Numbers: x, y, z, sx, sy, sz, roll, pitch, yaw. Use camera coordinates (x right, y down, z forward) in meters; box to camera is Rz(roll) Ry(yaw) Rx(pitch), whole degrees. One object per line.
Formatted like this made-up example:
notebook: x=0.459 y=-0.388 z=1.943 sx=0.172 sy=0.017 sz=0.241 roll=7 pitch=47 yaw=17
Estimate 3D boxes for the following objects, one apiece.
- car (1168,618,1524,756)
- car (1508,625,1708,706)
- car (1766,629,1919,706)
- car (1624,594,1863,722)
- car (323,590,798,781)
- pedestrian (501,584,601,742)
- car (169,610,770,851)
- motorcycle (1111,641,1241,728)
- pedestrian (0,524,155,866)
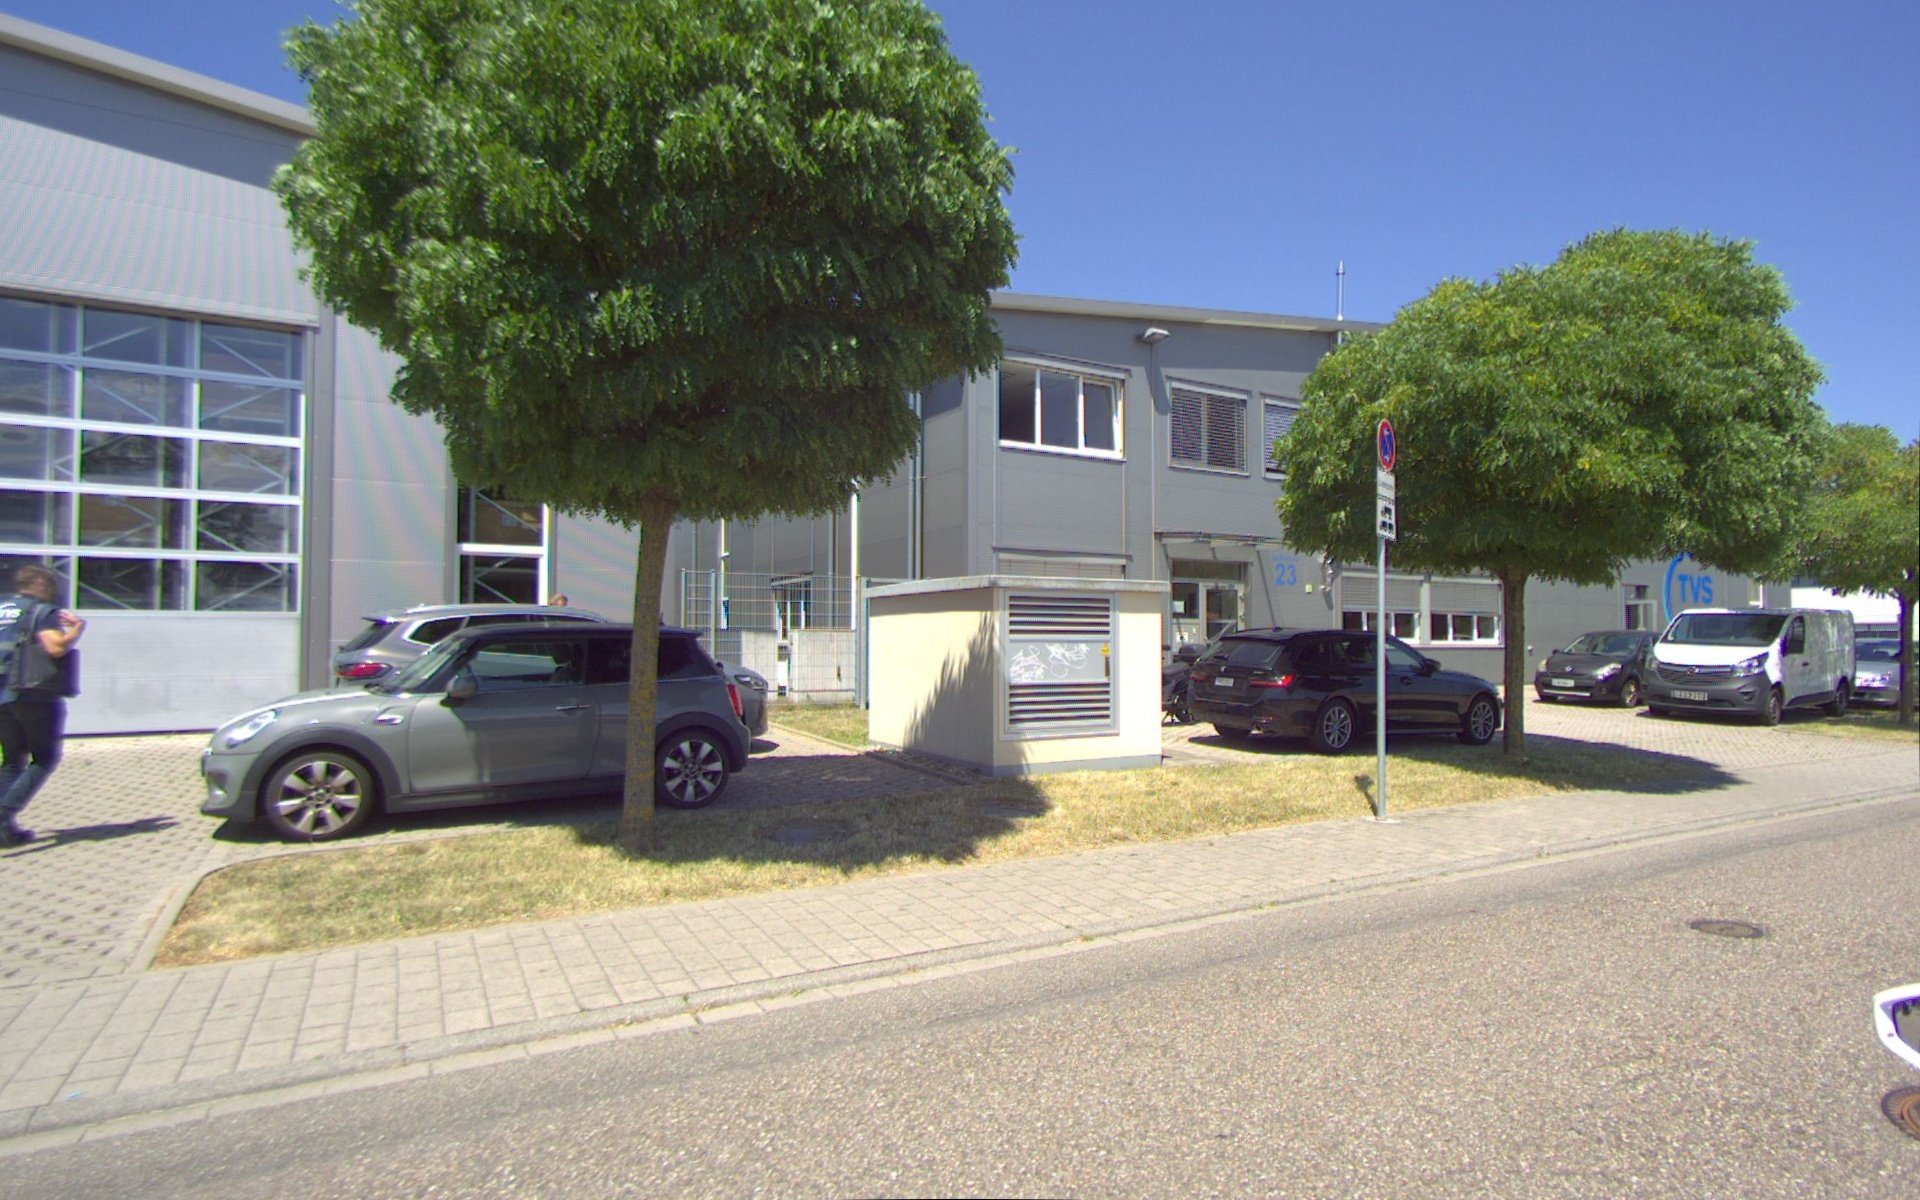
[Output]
car: x=5.060 y=1.012 z=12.982 sx=4.658 sy=1.473 sz=1.757 roll=1 pitch=0 yaw=-30
car: x=13.415 y=1.284 z=20.760 sx=4.041 sy=1.460 sz=1.916 roll=1 pitch=0 yaw=-32
car: x=19.147 y=1.411 z=21.016 sx=4.783 sy=1.459 sz=1.919 roll=3 pitch=-3 yaw=-29
car: x=14.406 y=0.979 z=18.386 sx=5.069 sy=2.046 sz=1.827 roll=1 pitch=0 yaw=-32
car: x=-4.033 y=0.784 z=10.504 sx=4.295 sy=1.649 sz=1.727 roll=1 pitch=-1 yaw=-29
pedestrian: x=-4.750 y=0.706 z=11.645 sx=0.953 sy=1.736 sz=0.836 roll=1 pitch=-1 yaw=-30
car: x=-3.598 y=0.843 z=7.865 sx=3.793 sy=1.473 sz=1.758 roll=1 pitch=-1 yaw=-29
motorcycle: x=3.171 y=1.203 z=14.661 sx=2.057 sy=1.178 sz=0.512 roll=1 pitch=0 yaw=-32
pedestrian: x=-5.922 y=0.555 z=6.365 sx=0.945 sy=1.999 sz=0.843 roll=1 pitch=0 yaw=10
